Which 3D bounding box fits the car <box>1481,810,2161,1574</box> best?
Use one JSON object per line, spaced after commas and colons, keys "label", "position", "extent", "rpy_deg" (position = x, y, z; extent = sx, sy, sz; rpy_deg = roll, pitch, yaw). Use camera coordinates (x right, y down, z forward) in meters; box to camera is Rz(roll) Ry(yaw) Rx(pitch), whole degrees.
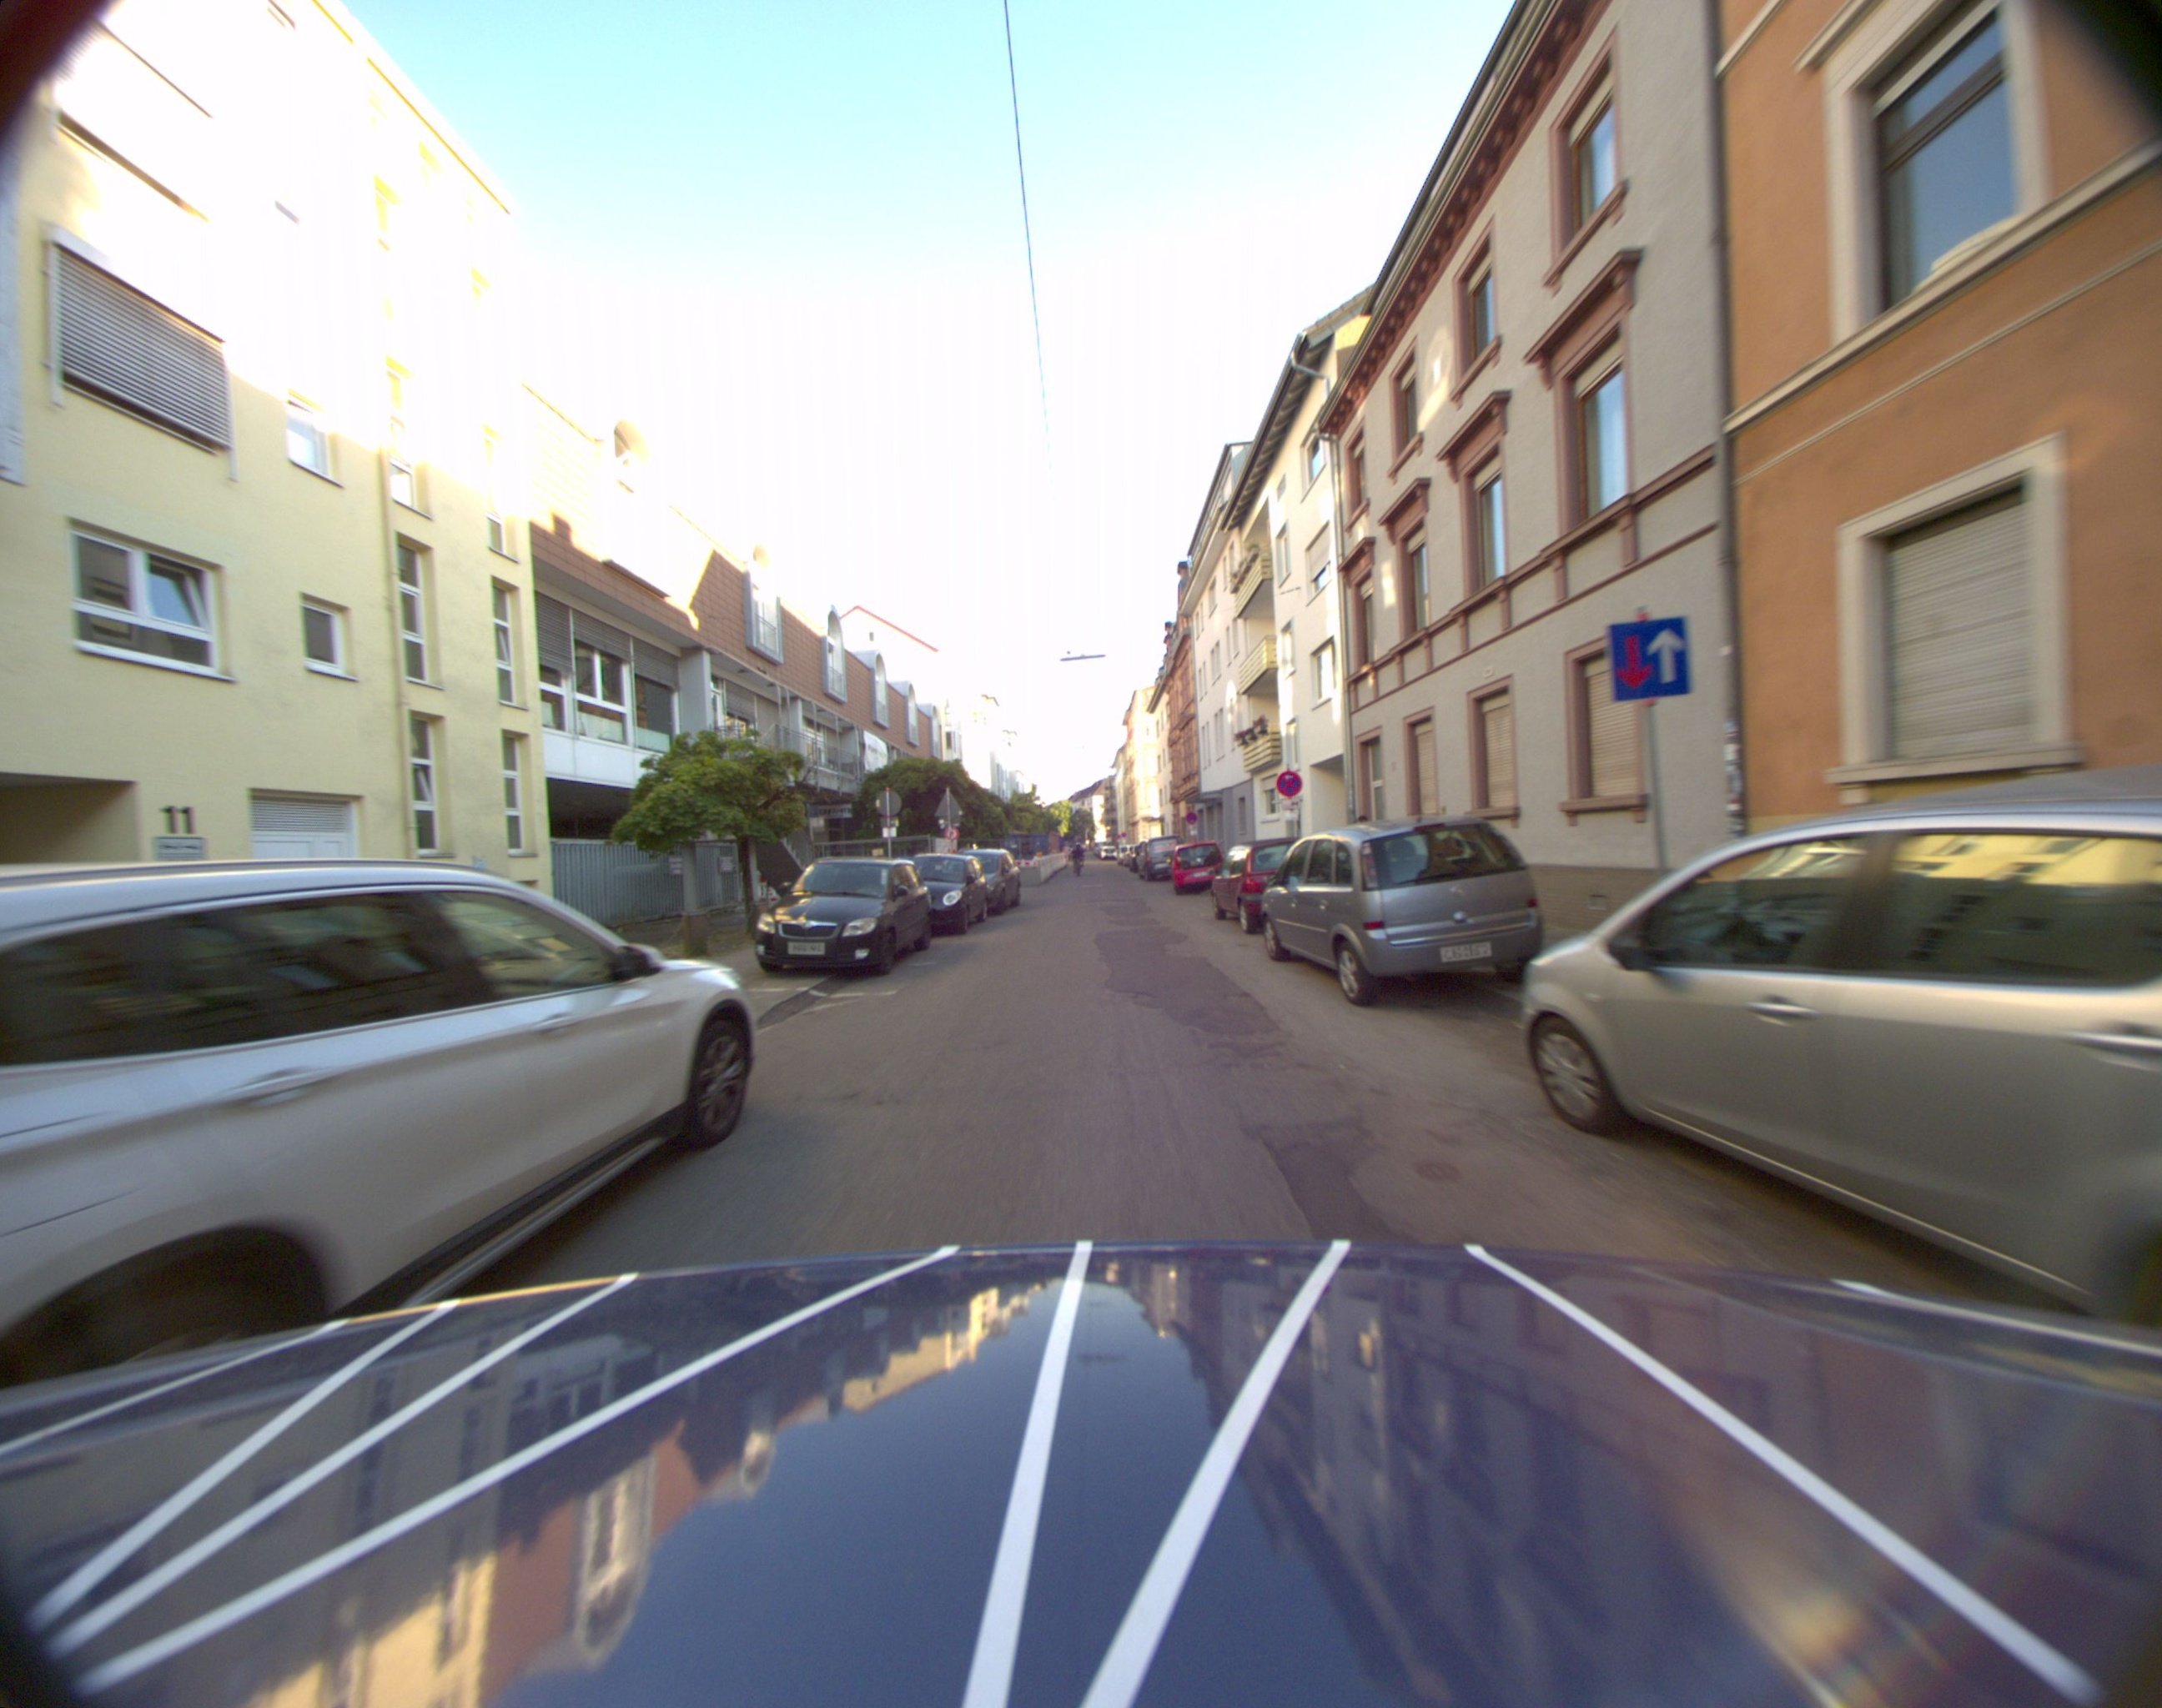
{"label": "car", "position": [3.176, 0.726, 2.618], "extent": [1.594, 1.676, 3.652], "rpy_deg": [-3, 1, 0]}

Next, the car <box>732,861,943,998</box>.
{"label": "car", "position": [-3.206, 0.895, 10.895], "extent": [1.624, 1.477, 4.124], "rpy_deg": [-1, 1, 1]}

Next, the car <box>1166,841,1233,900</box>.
{"label": "car", "position": [3.610, 0.448, 23.627], "extent": [1.672, 1.477, 3.606], "rpy_deg": [-8, 1, 6]}

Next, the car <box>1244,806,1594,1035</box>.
{"label": "car", "position": [3.082, 0.501, 7.936], "extent": [1.715, 1.635, 3.978], "rpy_deg": [-6, 1, -1]}

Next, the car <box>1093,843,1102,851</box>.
{"label": "car", "position": [3.901, -1.693, 181.882], "extent": [1.998, 1.783, 3.999], "rpy_deg": [-3, 1, 1]}

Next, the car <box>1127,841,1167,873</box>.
{"label": "car", "position": [3.610, 0.151, 42.270], "extent": [1.744, 1.590, 4.014], "rpy_deg": [-3, 1, 0]}

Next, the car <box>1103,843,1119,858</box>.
{"label": "car", "position": [3.217, -0.374, 81.809], "extent": [1.688, 1.487, 3.844], "rpy_deg": [1, 1, 2]}

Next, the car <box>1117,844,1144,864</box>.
{"label": "car", "position": [3.775, -0.038, 58.328], "extent": [1.636, 1.422, 3.554], "rpy_deg": [-3, 1, -1]}

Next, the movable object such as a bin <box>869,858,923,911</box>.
{"label": "movable object such as a bin", "position": [-5.276, 0.840, 21.603], "extent": [1.256, 1.368, 0.800], "rpy_deg": [-5, 2, -25]}

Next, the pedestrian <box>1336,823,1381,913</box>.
{"label": "pedestrian", "position": [5.236, 0.254, 14.357], "extent": [0.496, 1.629, 0.665], "rpy_deg": [-4, 1, 0]}

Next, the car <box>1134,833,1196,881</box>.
{"label": "car", "position": [3.550, 0.101, 32.987], "extent": [1.999, 1.848, 4.583], "rpy_deg": [-3, 1, -1]}

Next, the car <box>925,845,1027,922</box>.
{"label": "car", "position": [-2.614, 0.664, 19.960], "extent": [1.753, 1.673, 4.525], "rpy_deg": [-4, 1, 3]}

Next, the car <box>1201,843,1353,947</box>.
{"label": "car", "position": [3.285, 0.616, 13.380], "extent": [1.661, 1.440, 3.285], "rpy_deg": [-6, 1, -1]}

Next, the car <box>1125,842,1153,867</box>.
{"label": "car", "position": [3.973, 0.026, 52.585], "extent": [1.559, 1.500, 3.597], "rpy_deg": [-6, 1, 0]}

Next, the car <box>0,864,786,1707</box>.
{"label": "car", "position": [-2.794, 0.951, 2.723], "extent": [1.727, 1.602, 4.586], "rpy_deg": [-3, 1, -2]}

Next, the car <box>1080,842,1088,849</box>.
{"label": "car", "position": [0.757, -2.411, 211.889], "extent": [1.998, 1.783, 3.999], "rpy_deg": [-3, 1, 1]}

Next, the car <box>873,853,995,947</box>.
{"label": "car", "position": [-2.864, 0.829, 15.539], "extent": [1.626, 1.549, 3.693], "rpy_deg": [-4, 1, 1]}

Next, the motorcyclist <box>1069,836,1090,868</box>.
{"label": "motorcyclist", "position": [-0.075, -0.091, 39.585], "extent": [0.873, 1.558, 1.000], "rpy_deg": [-5, -1, 4]}

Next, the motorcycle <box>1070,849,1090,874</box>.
{"label": "motorcycle", "position": [-0.048, 0.384, 39.486], "extent": [0.806, 1.242, 1.699], "rpy_deg": [-5, -1, 4]}
